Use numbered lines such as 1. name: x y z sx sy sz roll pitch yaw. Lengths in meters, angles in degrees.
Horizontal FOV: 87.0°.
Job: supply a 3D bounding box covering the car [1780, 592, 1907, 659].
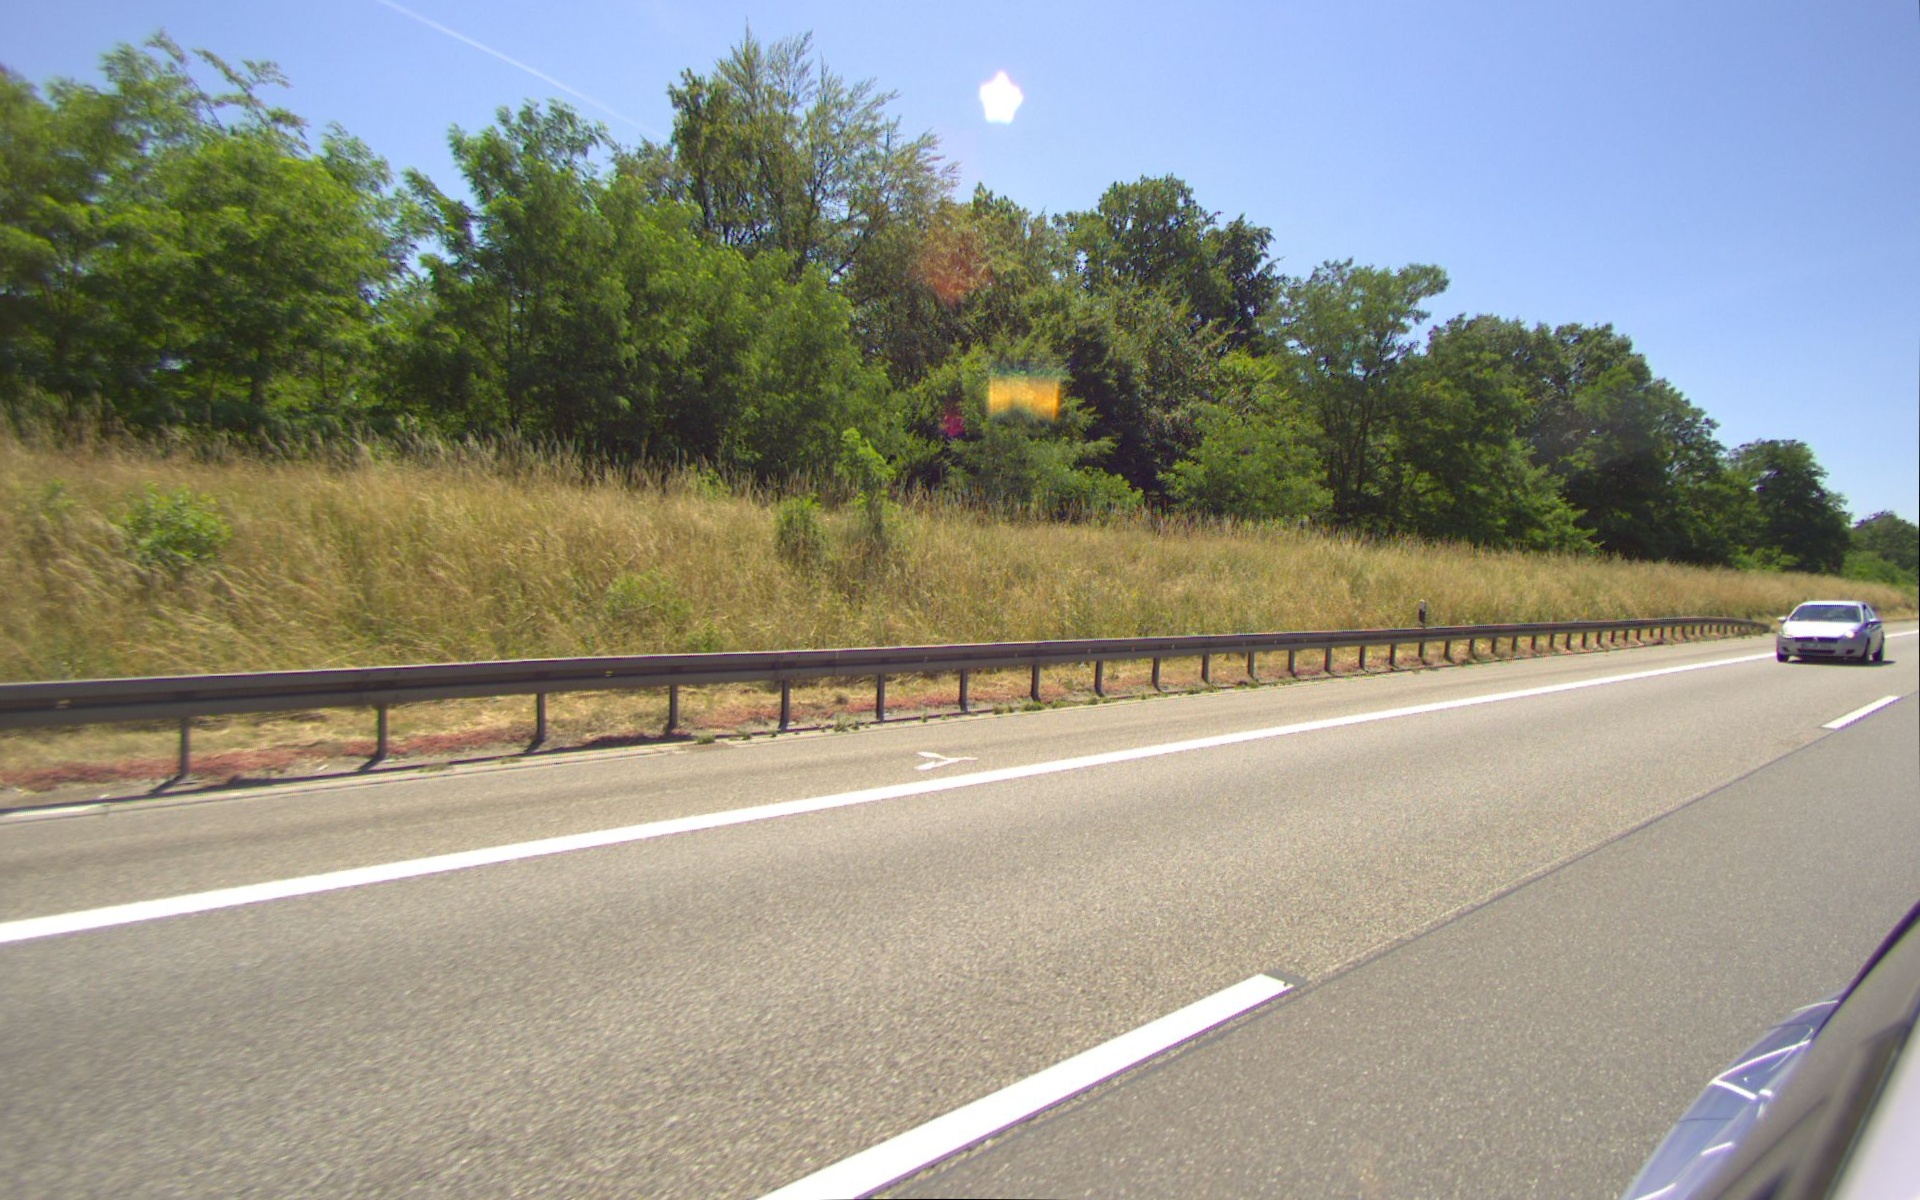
1. car: 21.300 0.552 24.359 3.910 1.484 1.748 0 0 -40
